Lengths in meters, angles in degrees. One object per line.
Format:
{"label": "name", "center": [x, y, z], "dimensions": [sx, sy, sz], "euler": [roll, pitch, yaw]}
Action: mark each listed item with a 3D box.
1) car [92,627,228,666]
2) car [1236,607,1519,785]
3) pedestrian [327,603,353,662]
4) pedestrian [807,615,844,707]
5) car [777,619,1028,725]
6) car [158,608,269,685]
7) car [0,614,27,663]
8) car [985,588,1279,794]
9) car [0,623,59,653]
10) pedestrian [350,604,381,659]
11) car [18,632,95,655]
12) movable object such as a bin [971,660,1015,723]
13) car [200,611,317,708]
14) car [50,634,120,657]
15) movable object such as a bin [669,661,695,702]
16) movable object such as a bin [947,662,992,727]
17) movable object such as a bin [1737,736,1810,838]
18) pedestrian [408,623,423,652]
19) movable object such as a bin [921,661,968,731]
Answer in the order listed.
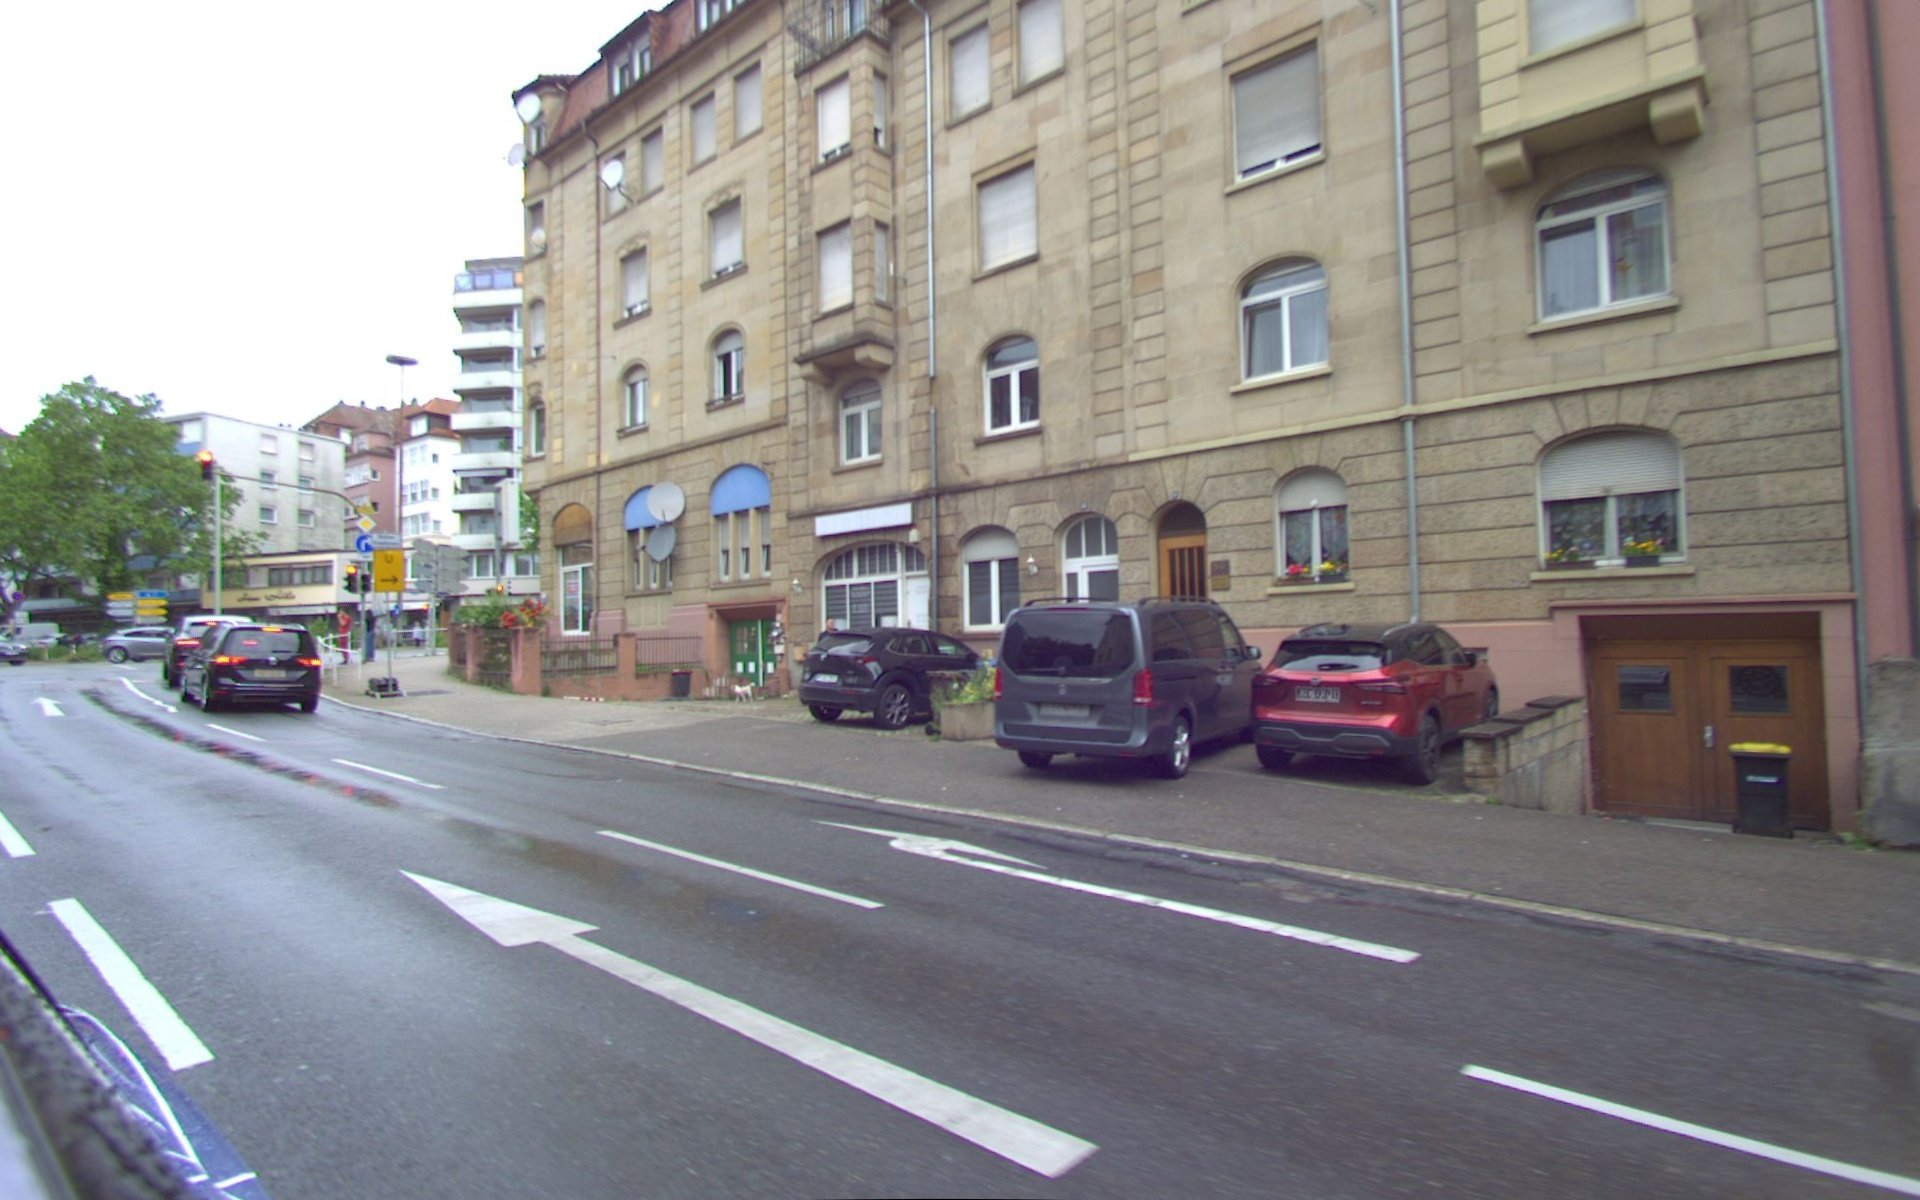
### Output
{"label": "car", "center": [-33.358, 1.923, 42.302], "dimensions": [4.110, 1.494, 1.762], "euler": [-1, -1, -14]}
{"label": "car", "center": [4.995, 0.927, 11.783], "dimensions": [1.896, 1.602, 4.055], "euler": [-1, 1, 40]}
{"label": "pedestrian", "center": [-19.041, 0.990, 31.065], "dimensions": [0.516, 1.787, 0.694], "euler": [-1, -1, -42]}
{"label": "pedestrian", "center": [-2.691, 1.211, 20.246], "dimensions": [0.561, 1.790, 0.475], "euler": [0, 0, 20]}
{"label": "car", "center": [-0.848, 1.102, 16.919], "dimensions": [1.872, 1.522, 4.104], "euler": [-2, -2, 41]}
{"label": "car", "center": [-18.899, 1.081, 25.534], "dimensions": [1.940, 1.706, 4.816], "euler": [0, 0, -40]}
{"label": "car", "center": [-41.945, 1.635, 42.757], "dimensions": [4.476, 2.029, 1.903], "euler": [-1, 0, 20]}
{"label": "car", "center": [2.278, 0.871, 12.131], "dimensions": [1.857, 1.953, 4.640], "euler": [-2, 0, 31]}
{"label": "car", "center": [-66.737, 2.679, 71.156], "dimensions": [1.861, 1.992, 4.957], "euler": [0, 0, 13]}
{"label": "pedestrian", "center": [-19.231, 1.009, 32.712], "dimensions": [0.829, 1.715, 0.629], "euler": [-2, -1, 44]}
{"label": "car", "center": [-61.959, 2.987, 69.467], "dimensions": [1.791, 1.426, 3.697], "euler": [0, 0, 7]}
{"label": "movable object such as a bin", "center": [0.509, 1.388, 15.536], "dimensions": [0.499, 0.910, 0.441], "euler": [-1, 0, -43]}
{"label": "car", "center": [-13.637, 1.132, 19.590], "dimensions": [1.599, 1.662, 4.429], "euler": [5, -4, -36]}
{"label": "car", "center": [-59.885, 3.104, 69.320], "dimensions": [1.609, 1.426, 3.619], "euler": [0, 0, 3]}
{"label": "movable object such as a bin", "center": [-6.797, 1.977, 24.724], "dimensions": [0.469, 0.957, 0.418], "euler": [0, -1, -43]}
{"label": "movable object such as a bin", "center": [0.145, 1.403, 15.163], "dimensions": [0.499, 0.910, 0.441], "euler": [-1, 0, -43]}
{"label": "movable object such as a bin", "center": [9.080, 2.069, 11.291], "dimensions": [0.526, 1.004, 0.551], "euler": [-1, 0, -43]}
{"label": "pedestrian", "center": [-32.039, 2.220, 59.579], "dimensions": [0.609, 1.706, 0.626], "euler": [0, -2, -14]}
{"label": "movable object such as a bin", "center": [-0.221, 1.384, 14.747], "dimensions": [0.499, 0.957, 0.441], "euler": [-1, 0, -43]}
